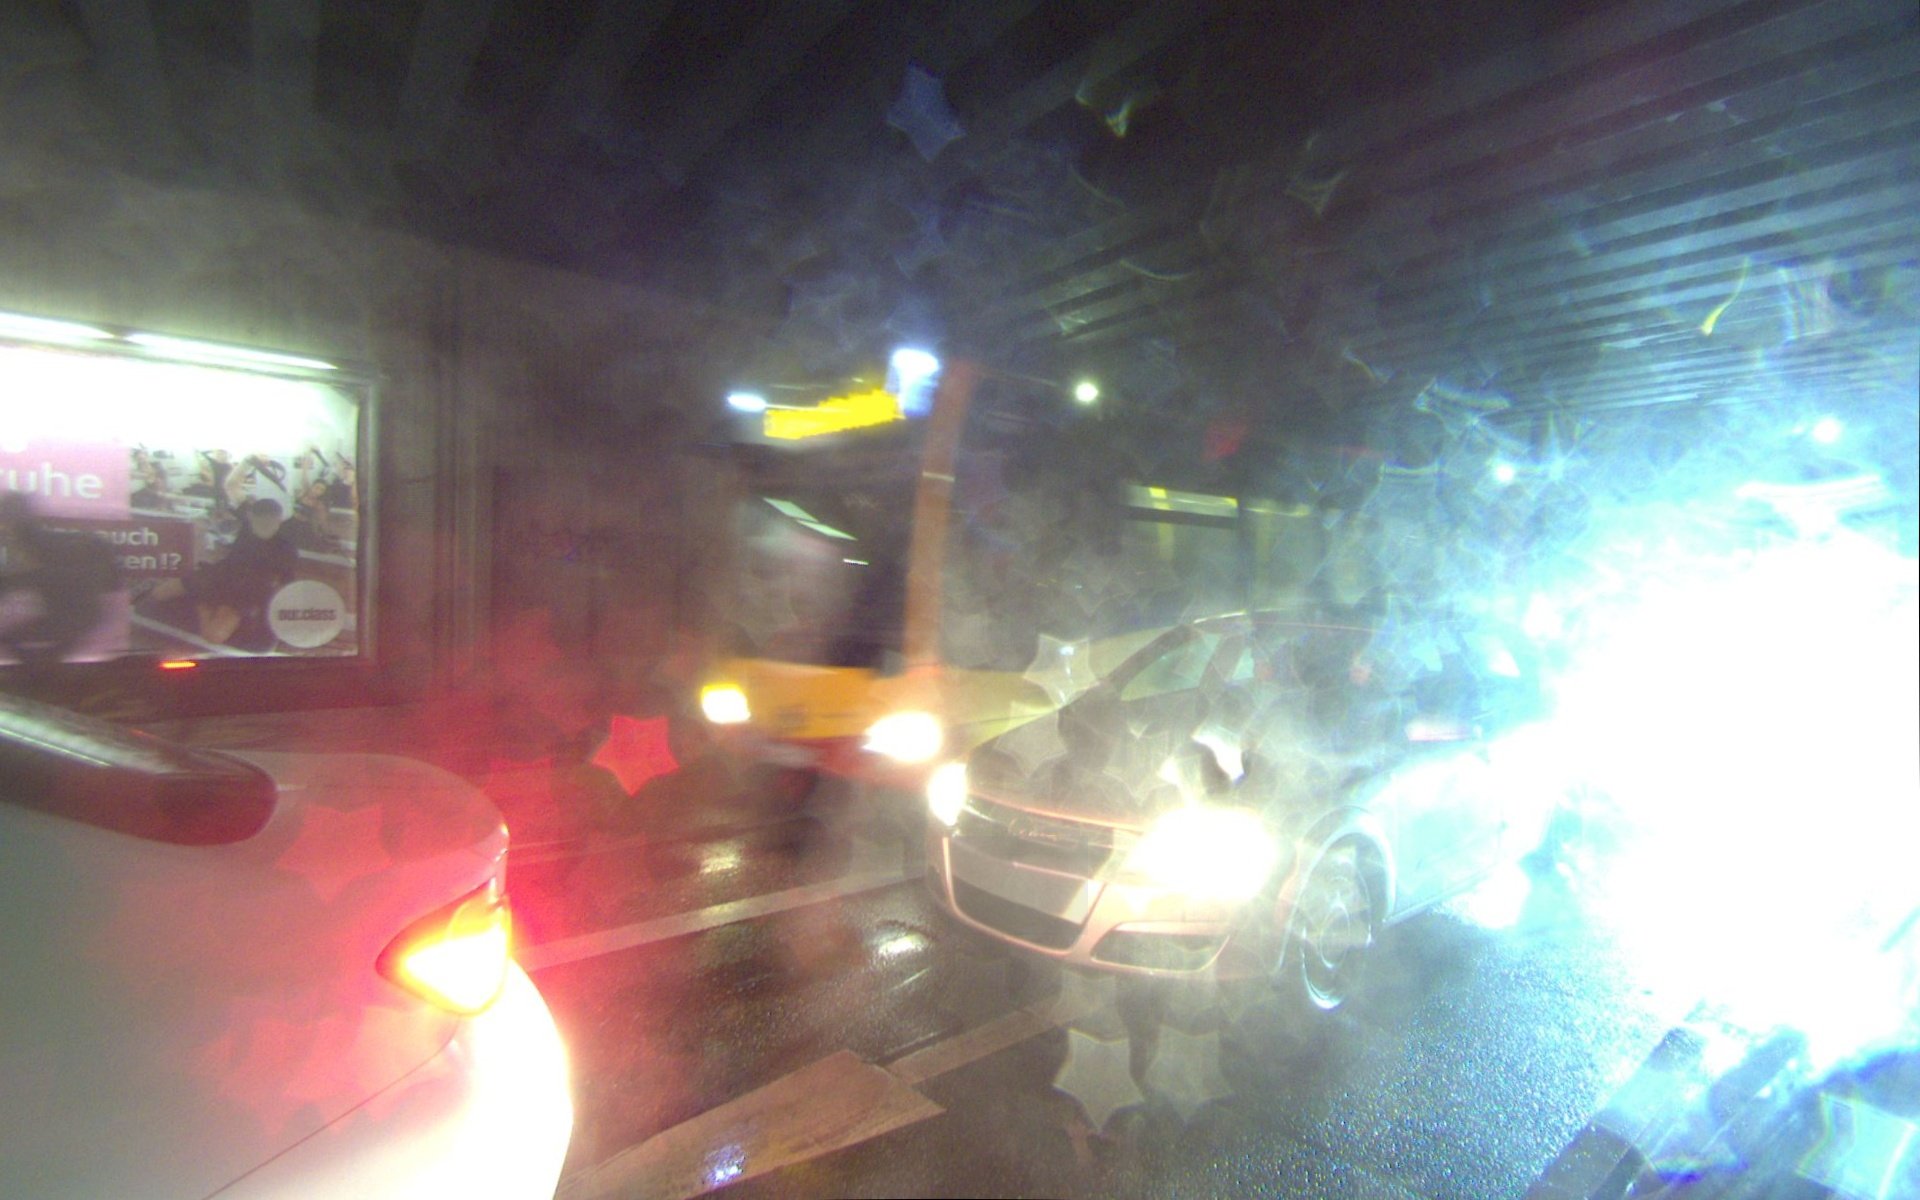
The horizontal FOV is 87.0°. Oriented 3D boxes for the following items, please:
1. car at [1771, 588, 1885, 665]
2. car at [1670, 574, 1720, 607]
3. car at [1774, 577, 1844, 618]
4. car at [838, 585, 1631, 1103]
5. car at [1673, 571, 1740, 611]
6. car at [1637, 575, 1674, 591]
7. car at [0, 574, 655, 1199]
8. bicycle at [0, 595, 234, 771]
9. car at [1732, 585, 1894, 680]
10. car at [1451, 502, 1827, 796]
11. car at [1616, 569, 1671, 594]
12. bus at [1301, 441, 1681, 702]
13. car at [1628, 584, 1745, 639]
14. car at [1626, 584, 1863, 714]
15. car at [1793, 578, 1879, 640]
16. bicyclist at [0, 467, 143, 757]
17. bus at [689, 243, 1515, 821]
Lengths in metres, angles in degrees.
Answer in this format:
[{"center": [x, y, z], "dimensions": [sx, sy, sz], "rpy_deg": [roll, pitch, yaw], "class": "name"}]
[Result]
[{"center": [18.801, 0.501, 21.863], "dimensions": [1.678, 1.490, 3.937], "rpy_deg": [0, 0, 44], "class": "car"}, {"center": [34.785, -0.469, 47.896], "dimensions": [1.843, 1.474, 4.443], "rpy_deg": [1, 1, 36], "class": "car"}, {"center": [33.009, -0.111, 39.442], "dimensions": [1.872, 1.490, 3.947], "rpy_deg": [0, 0, 37], "class": "car"}, {"center": [1.559, 0.662, 4.837], "dimensions": [3.931, 1.384, 1.791], "rpy_deg": [-2, 2, -41], "class": "car"}, {"center": [29.568, -0.345, 40.037], "dimensions": [1.846, 1.503, 4.561], "rpy_deg": [2, 1, 40], "class": "car"}, {"center": [70.407, -1.730, 102.496], "dimensions": [1.973, 1.626, 3.977], "rpy_deg": [0, 0, 18], "class": "car"}, {"center": [-2.688, 0.691, 0.985], "dimensions": [4.273, 1.422, 1.719], "rpy_deg": [-1, 0, -41], "class": "car"}, {"center": [-6.094, 0.512, 6.589], "dimensions": [2.169, 1.071, 0.798], "rpy_deg": [-1, 0, -41], "class": "bicycle"}, {"center": [15.364, 0.502, 18.164], "dimensions": [3.930, 1.522, 1.628], "rpy_deg": [-1, 0, -41], "class": "car"}, {"center": [6.502, 0.327, 9.492], "dimensions": [4.274, 2.115, 1.996], "rpy_deg": [-1, 0, -43], "class": "car"}, {"center": [41.852, -1.173, 62.045], "dimensions": [1.832, 1.449, 4.471], "rpy_deg": [0, 2, 21], "class": "car"}, {"center": [9.189, -0.349, 16.664], "dimensions": [9.601, 3.163, 2.770], "rpy_deg": [0, 0, -45], "class": "bus"}, {"center": [21.438, 0.282, 29.799], "dimensions": [4.548, 1.497, 1.840], "rpy_deg": [-1, 0, -41], "class": "car"}, {"center": [10.768, 0.555, 13.814], "dimensions": [3.701, 1.531, 1.867], "rpy_deg": [-1, 0, -41], "class": "car"}, {"center": [24.584, 0.219, 28.364], "dimensions": [1.737, 1.610, 3.939], "rpy_deg": [0, 0, 42], "class": "car"}, {"center": [-5.992, 0.069, 6.702], "dimensions": [0.885, 1.784, 0.798], "rpy_deg": [0, 0, -41], "class": "bicyclist"}, {"center": [2.366, -0.377, 9.911], "dimensions": [9.601, 3.163, 2.770], "rpy_deg": [0, 0, -45], "class": "bus"}]
